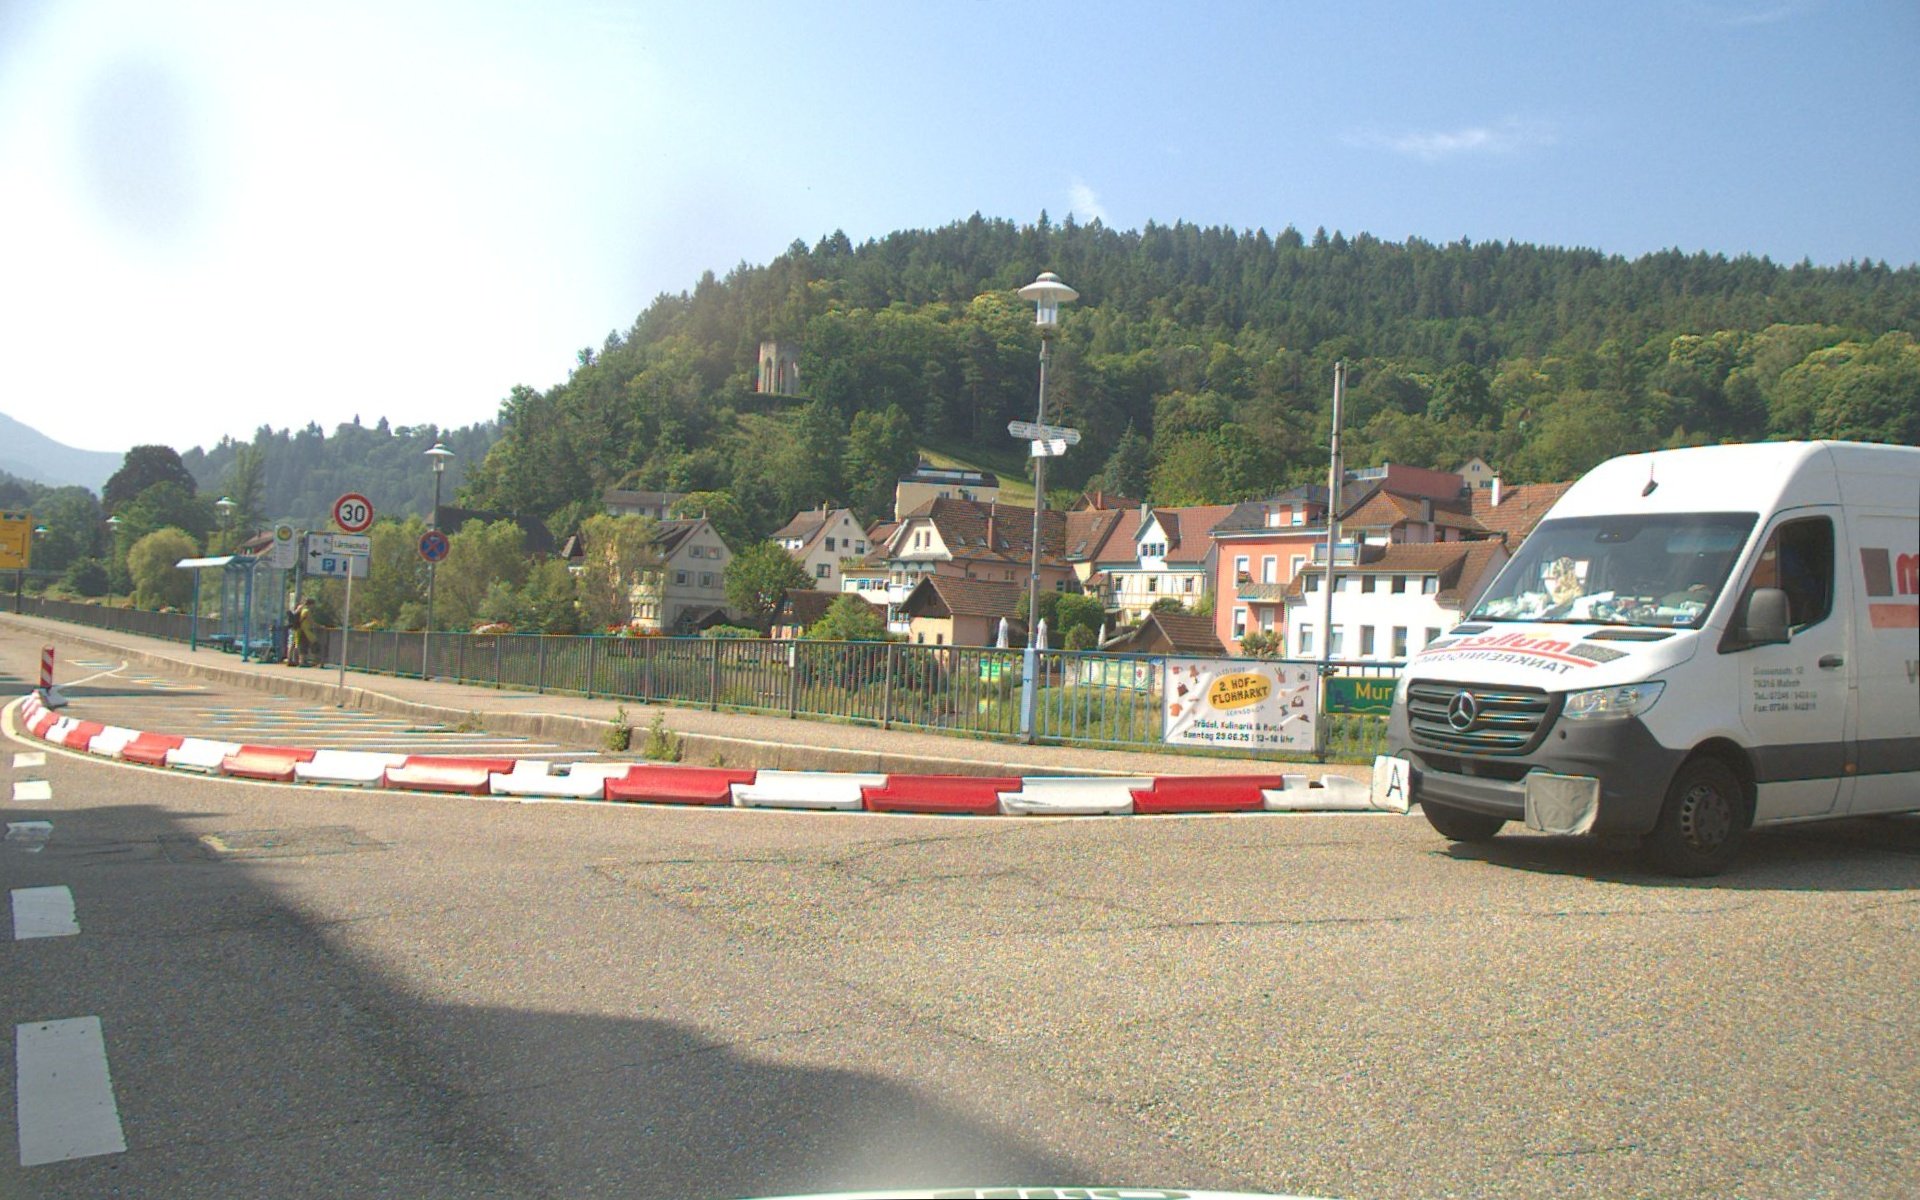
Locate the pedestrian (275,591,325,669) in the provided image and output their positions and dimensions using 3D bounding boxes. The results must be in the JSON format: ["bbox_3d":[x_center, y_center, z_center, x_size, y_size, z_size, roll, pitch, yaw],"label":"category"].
[{"bbox_3d":[-15.183,0.696,38.028,0.858,1.736,0.769,4,-2,-32],"label":"pedestrian"}]

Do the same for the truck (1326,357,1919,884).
[{"bbox_3d":[5.856,0.201,11.367,7.038,2.746,2.089,2,-1,-31],"label":"truck"}]

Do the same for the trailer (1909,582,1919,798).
[{"bbox_3d":[11.260,0.871,14.700,5.563,1.860,2.591,2,-1,-32],"label":"trailer"}]

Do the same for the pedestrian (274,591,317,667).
[{"bbox_3d":[-15.498,0.679,38.582,0.782,1.736,0.486,4,-2,-32],"label":"pedestrian"}]
